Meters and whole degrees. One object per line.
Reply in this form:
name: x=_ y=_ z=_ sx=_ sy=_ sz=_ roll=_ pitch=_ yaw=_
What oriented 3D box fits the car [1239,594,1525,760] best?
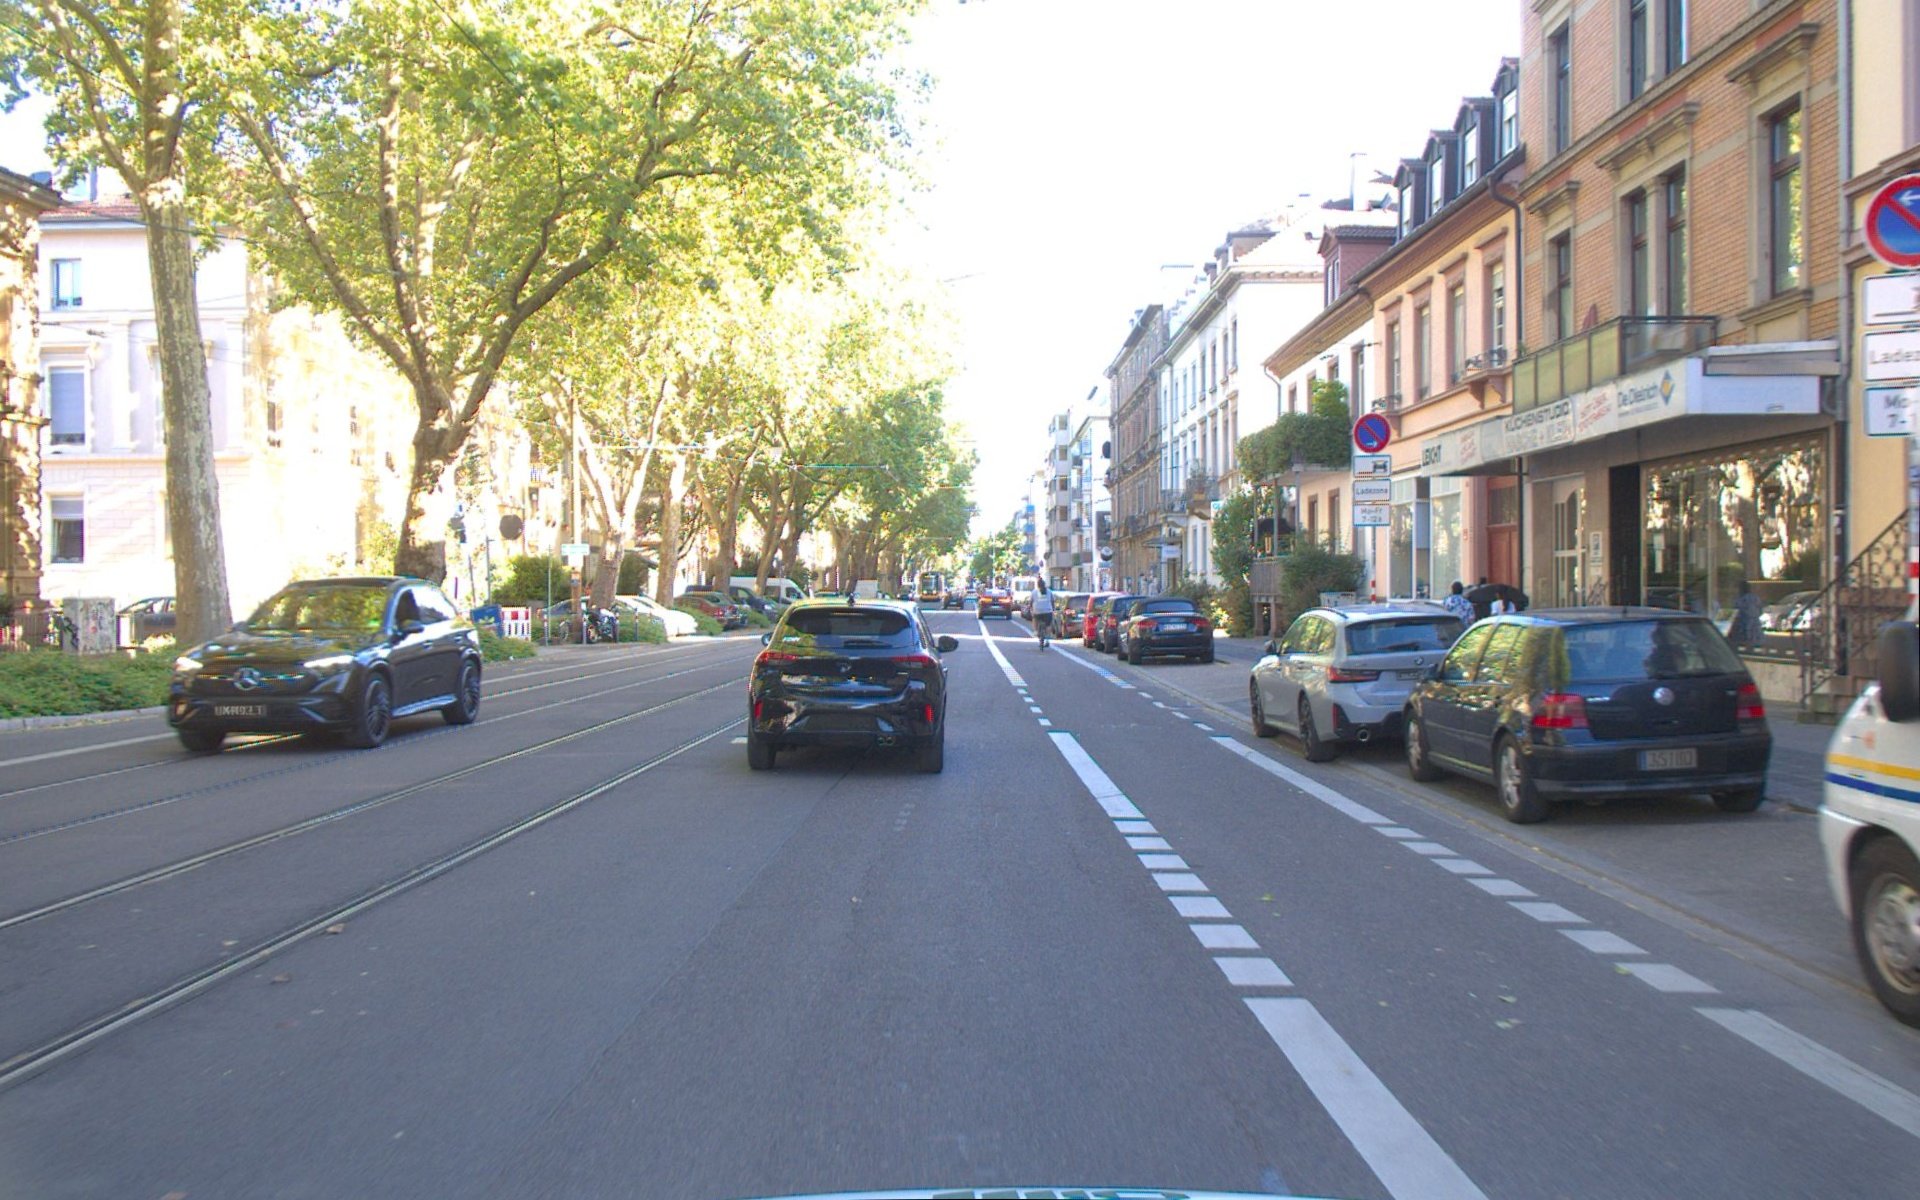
car: x=4.222 y=0.703 z=17.336 sx=1.772 sy=1.460 sz=4.664 roll=-1 pitch=0 yaw=0

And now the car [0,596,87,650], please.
car: x=-27.366 y=0.664 z=47.335 sx=3.838 sy=1.443 sz=1.695 roll=-1 pitch=2 yaw=1

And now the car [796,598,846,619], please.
car: x=-10.867 y=0.664 z=129.577 sx=3.841 sy=1.524 sz=1.676 roll=1 pitch=0 yaw=-3

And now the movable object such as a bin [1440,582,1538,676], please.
movable object such as a bin: x=8.974 y=0.478 z=28.102 sx=1.267 sy=1.547 sz=1.286 roll=0 pitch=0 yaw=0

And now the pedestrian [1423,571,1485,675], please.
pedestrian: x=7.426 y=0.338 z=24.884 sx=0.646 sy=1.531 sz=0.866 roll=-1 pitch=0 yaw=-1

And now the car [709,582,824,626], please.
car: x=-11.499 y=0.244 z=98.632 sx=6.492 sy=2.451 sz=2.458 roll=1 pitch=0 yaw=0

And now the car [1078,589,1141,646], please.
car: x=4.352 y=0.508 z=48.458 sx=1.600 sy=1.574 sz=3.576 roll=-1 pitch=0 yaw=2

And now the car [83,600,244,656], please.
car: x=-22.706 y=0.786 z=47.239 sx=3.698 sy=1.443 sz=1.695 roll=-1 pitch=3 yaw=1

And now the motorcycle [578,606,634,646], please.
motorcycle: x=-10.606 y=0.763 z=49.667 sx=0.865 sy=1.167 sz=2.392 roll=0 pitch=0 yaw=8

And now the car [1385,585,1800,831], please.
car: x=4.523 y=0.688 z=12.498 sx=1.611 sy=1.459 sz=4.030 roll=-3 pitch=0 yaw=2

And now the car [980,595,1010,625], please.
car: x=2.072 y=0.582 z=97.417 sx=1.772 sy=1.773 sz=3.933 roll=0 pitch=0 yaw=2

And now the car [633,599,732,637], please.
car: x=-11.635 y=0.747 z=69.499 sx=3.839 sy=1.467 sz=1.749 roll=1 pitch=0 yaw=0

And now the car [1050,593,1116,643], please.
car: x=4.393 y=0.638 z=59.695 sx=1.843 sy=1.613 sz=3.930 roll=-3 pitch=0 yaw=-3

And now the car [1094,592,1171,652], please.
car: x=4.511 y=0.552 z=43.712 sx=1.617 sy=1.482 sz=3.868 roll=-1 pitch=0 yaw=0

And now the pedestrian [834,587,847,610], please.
pedestrian: x=-8.517 y=-0.110 z=117.732 sx=0.756 sy=1.594 sz=0.676 roll=0 pitch=0 yaw=-24

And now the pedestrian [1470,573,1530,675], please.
pedestrian: x=8.118 y=0.350 z=24.877 sx=0.644 sy=1.509 sz=0.785 roll=0 pitch=0 yaw=-1

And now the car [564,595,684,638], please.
car: x=-11.756 y=0.580 z=58.051 sx=3.841 sy=1.478 sz=1.800 roll=0 pitch=0 yaw=0

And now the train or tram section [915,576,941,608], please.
train or tram section: x=-3.858 y=-0.931 z=202.192 sx=2.678 sy=3.746 sz=12.718 roll=-1 pitch=0 yaw=1

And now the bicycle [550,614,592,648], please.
bicycle: x=-11.682 y=0.916 z=49.684 sx=0.529 sy=0.957 sz=2.035 roll=0 pitch=0 yaw=8

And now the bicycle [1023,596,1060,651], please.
bicycle: x=2.167 y=0.610 z=44.389 sx=0.843 sy=1.431 sz=2.523 roll=0 pitch=0 yaw=-1

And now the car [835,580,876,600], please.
car: x=-10.069 y=-0.965 z=160.061 sx=3.841 sy=1.821 sz=1.676 roll=1 pitch=0 yaw=-3

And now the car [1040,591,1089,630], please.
car: x=4.325 y=0.442 z=69.096 sx=1.841 sy=1.481 sz=4.026 roll=-4 pitch=0 yaw=2

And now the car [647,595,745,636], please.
car: x=-11.418 y=0.688 z=71.700 sx=3.913 sy=1.655 sz=1.879 roll=1 pitch=0 yaw=0

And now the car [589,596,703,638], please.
car: x=-11.520 y=0.615 z=60.902 sx=3.839 sy=1.488 sz=1.806 roll=0 pitch=0 yaw=1

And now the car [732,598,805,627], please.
car: x=-10.725 y=0.716 z=92.911 sx=3.839 sy=1.524 sz=1.677 roll=1 pitch=0 yaw=1

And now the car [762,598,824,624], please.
car: x=-10.856 y=0.722 z=107.720 sx=3.841 sy=1.605 sz=1.676 roll=1 pitch=0 yaw=-3

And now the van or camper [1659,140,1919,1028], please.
van or camper: x=4.425 y=-0.092 z=3.688 sx=2.426 sy=3.023 sz=7.885 roll=-3 pitch=0 yaw=2

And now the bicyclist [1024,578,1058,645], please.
bicyclist: x=2.168 y=0.302 z=44.429 sx=0.831 sy=1.770 sz=1.161 roll=0 pitch=0 yaw=-1

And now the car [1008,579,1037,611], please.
car: x=4.757 y=-0.400 z=126.410 sx=2.033 sy=2.257 sz=4.934 roll=-3 pitch=0 yaw=2

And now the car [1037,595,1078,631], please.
car: x=4.396 y=0.586 z=75.005 sx=1.675 sy=1.509 sz=3.764 roll=-3 pitch=0 yaw=2

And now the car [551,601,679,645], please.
car: x=-11.544 y=0.756 z=55.521 sx=3.839 sy=1.355 sz=1.848 roll=1 pitch=0 yaw=1

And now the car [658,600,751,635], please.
car: x=-11.412 y=0.766 z=74.104 sx=3.840 sy=1.446 sz=1.818 roll=1 pitch=0 yaw=-1

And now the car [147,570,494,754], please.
car: x=-6.450 y=0.537 z=17.300 sx=1.828 sy=1.658 sz=4.560 roll=0 pitch=1 yaw=0

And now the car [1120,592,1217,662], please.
car: x=4.532 y=0.567 z=36.507 sx=1.659 sy=1.417 sz=4.495 roll=-1 pitch=0 yaw=2

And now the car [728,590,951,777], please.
car: x=-0.975 y=0.660 z=15.032 sx=1.757 sy=1.466 sz=3.531 roll=0 pitch=1 yaw=0

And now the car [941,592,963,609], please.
car: x=-0.666 y=0.066 z=135.909 sx=1.773 sy=1.362 sz=3.932 roll=0 pitch=0 yaw=0

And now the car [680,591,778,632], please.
car: x=-11.621 y=0.579 z=83.459 sx=4.578 sy=1.957 sz=1.980 roll=1 pitch=0 yaw=1
